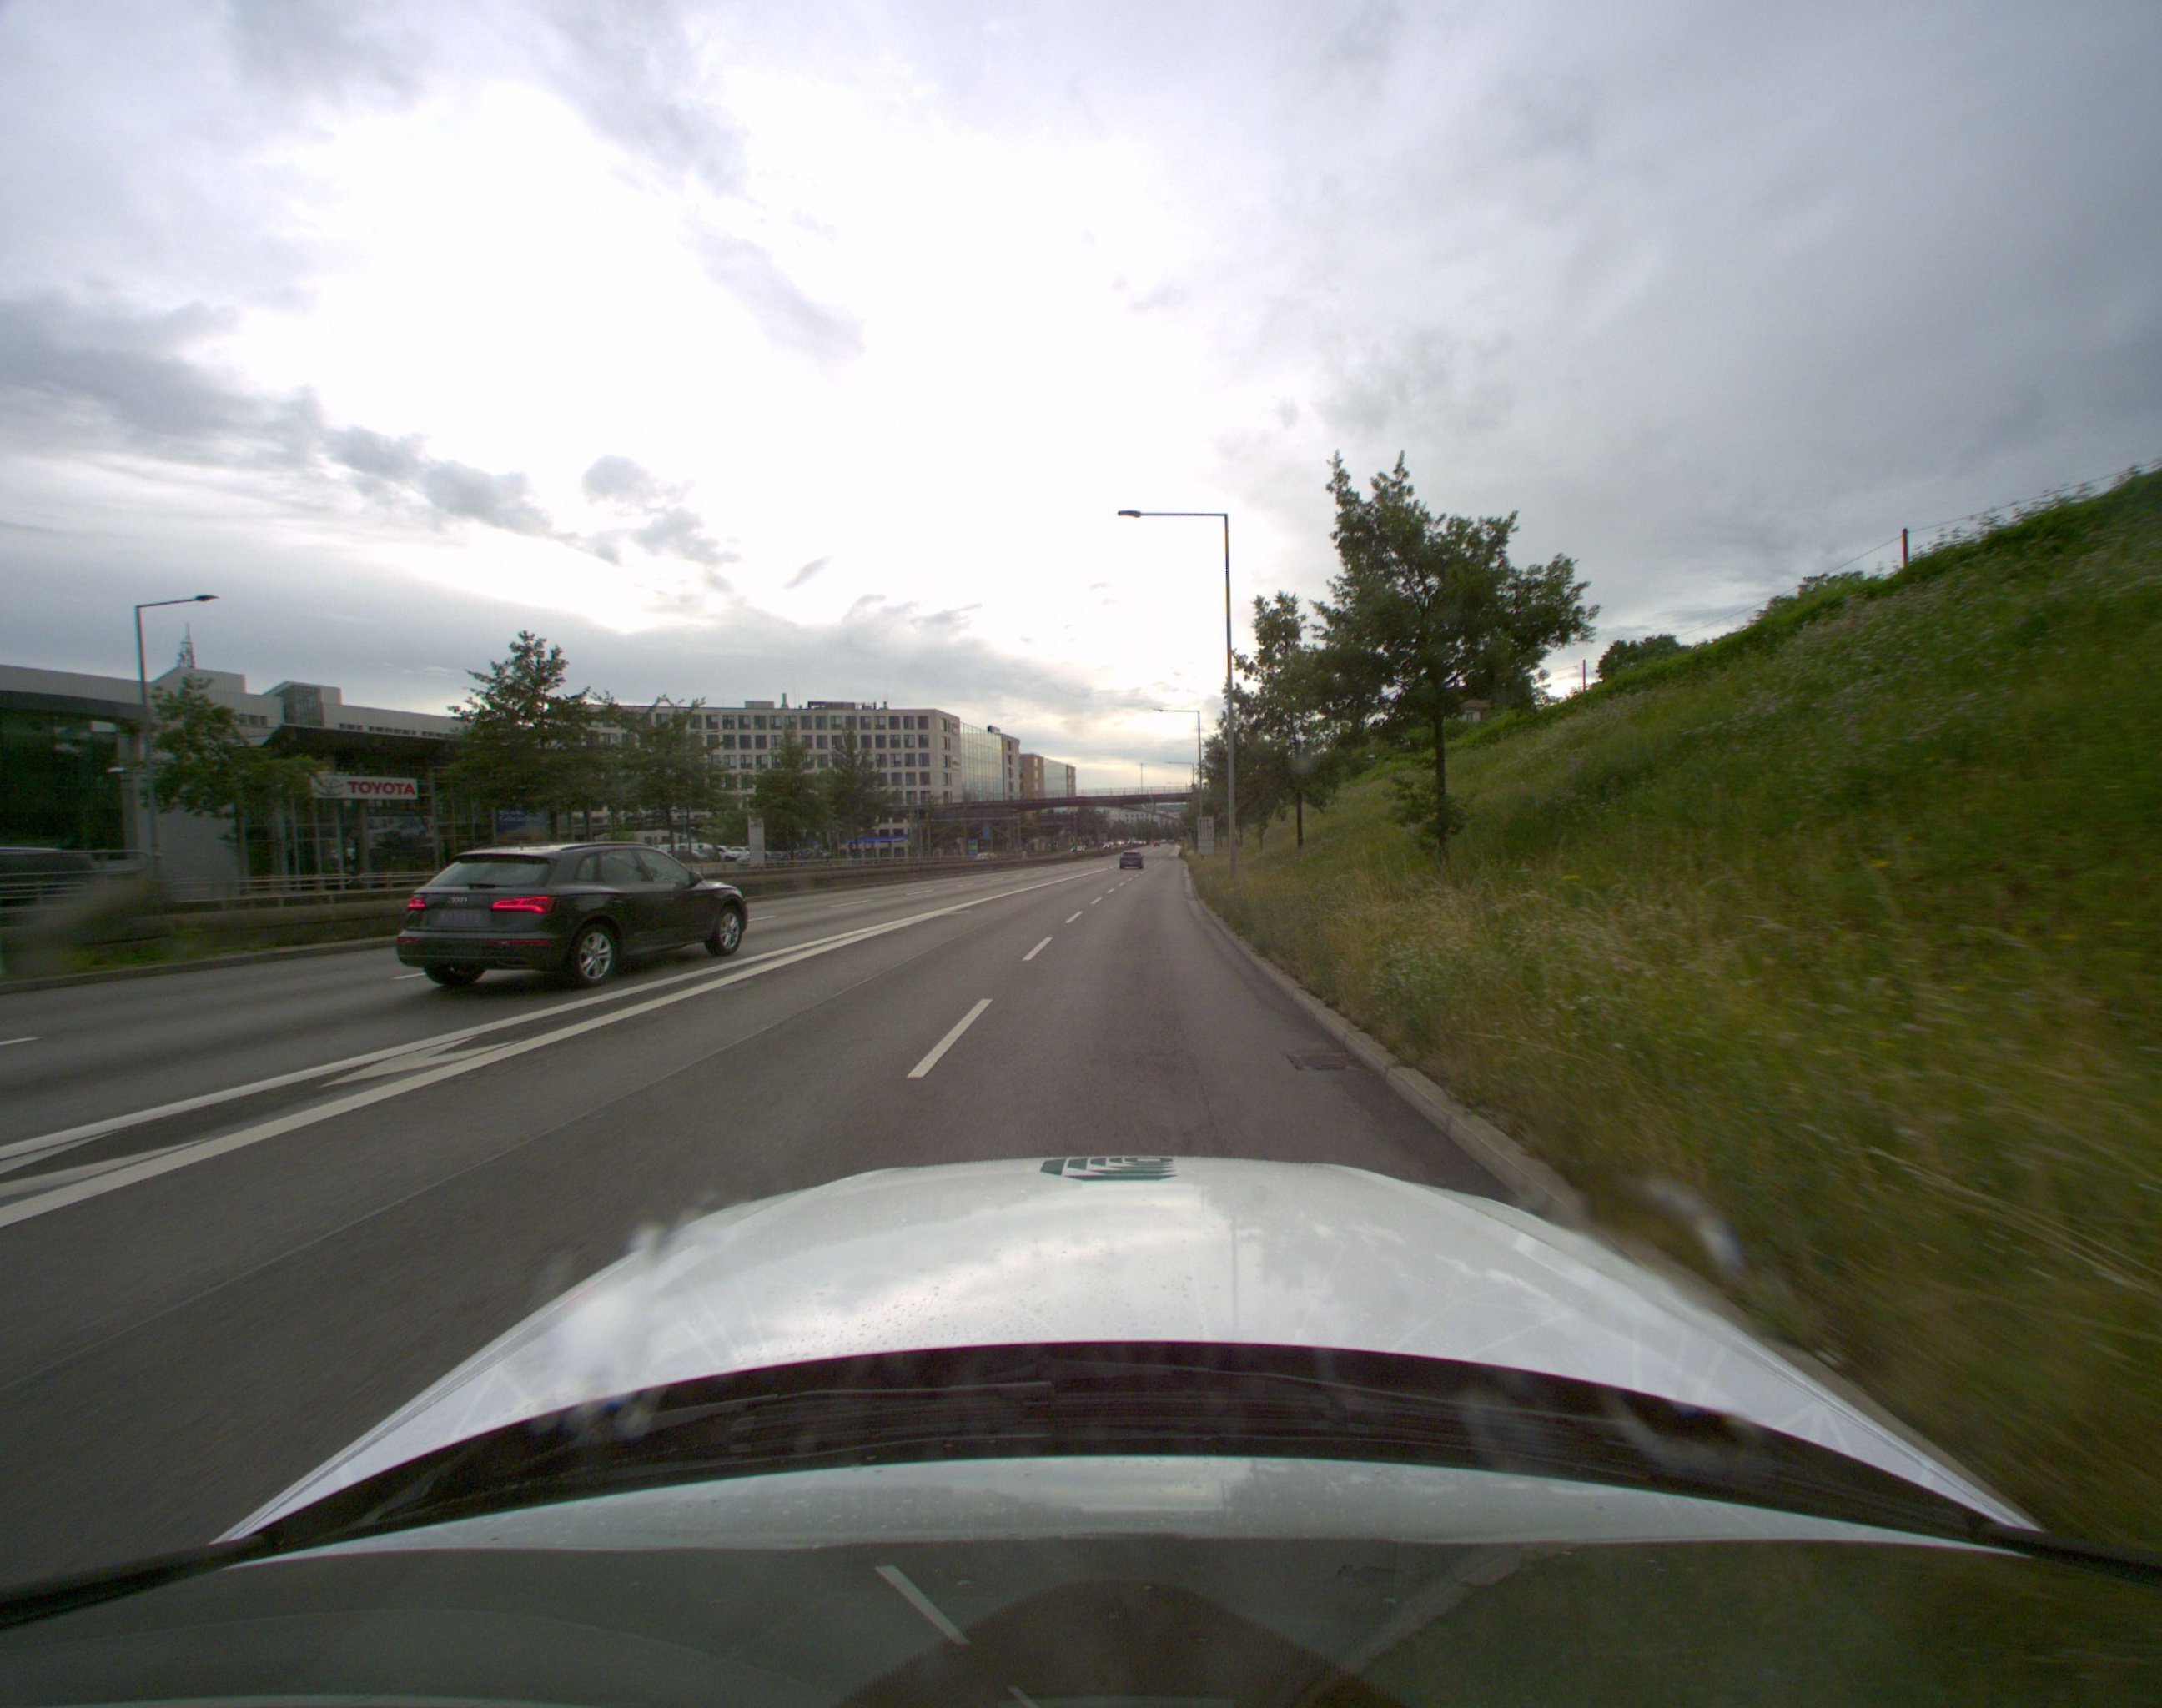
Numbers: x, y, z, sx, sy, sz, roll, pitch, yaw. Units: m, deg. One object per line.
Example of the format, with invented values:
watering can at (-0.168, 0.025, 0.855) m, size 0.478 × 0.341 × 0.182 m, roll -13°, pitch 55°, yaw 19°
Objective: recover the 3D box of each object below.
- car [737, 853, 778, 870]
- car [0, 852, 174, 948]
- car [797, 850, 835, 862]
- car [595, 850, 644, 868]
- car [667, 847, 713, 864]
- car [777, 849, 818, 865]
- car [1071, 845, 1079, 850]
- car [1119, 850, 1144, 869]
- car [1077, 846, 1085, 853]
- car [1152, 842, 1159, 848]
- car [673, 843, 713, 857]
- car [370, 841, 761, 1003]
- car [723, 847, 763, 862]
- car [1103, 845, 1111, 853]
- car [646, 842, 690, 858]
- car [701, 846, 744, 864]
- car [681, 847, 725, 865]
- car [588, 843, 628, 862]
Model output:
car at (-33.715, 0.745, 84.904) m, size 4.004 × 1.651 × 1.985 m, roll 0°, pitch 1°, yaw -23°
car at (-22.268, 0.930, 16.975) m, size 1.983 × 1.749 × 4.008 m, roll 1°, pitch 3°, yaw 6°
car at (-31.647, 0.238, 97.326) m, size 3.964 × 1.354 × 1.854 m, roll 1°, pitch 1°, yaw 9°
car at (-47.578, 0.506, 84.014) m, size 3.961 × 1.650 × 2.007 m, roll 1°, pitch 3°, yaw 12°
car at (-42.453, 0.164, 88.500) m, size 3.968 × 1.650 × 2.003 m, roll 1°, pitch 3°, yaw 5°
car at (-32.194, 0.347, 92.514) m, size 3.964 × 1.651 × 2.005 m, roll 1°, pitch 1°, yaw 9°
car at (-1.410, -1.626, 204.131) m, size 1.509 × 1.420 × 3.485 m, roll -1°, pitch 1°, yaw 7°
car at (4.115, 0.410, 65.688) m, size 1.739 × 1.420 × 3.485 m, roll -2°, pitch 0°, yaw 7°
car at (0.037, -1.058, 192.244) m, size 1.509 × 1.420 × 3.485 m, roll -1°, pitch 1°, yaw 7°
car at (22.869, -2.741, 249.775) m, size 1.855 × 1.749 × 4.005 m, roll 0°, pitch 3°, yaw 3°
car at (-47.263, -0.472, 99.227) m, size 3.970 × 1.650 × 1.823 m, roll 0°, pitch 3°, yaw 3°
car at (-6.124, 0.683, 10.554) m, size 1.743 × 1.617 × 4.754 m, roll -1°, pitch 0°, yaw 4°
car at (-41.039, 0.013, 98.876) m, size 3.961 × 1.650 × 2.007 m, roll 1°, pitch 3°, yaw 12°
car at (7.683, -1.507, 237.022) m, size 1.984 × 2.013 × 4.008 m, roll 1°, pitch 3°, yaw 6°
car at (-47.150, -0.457, 93.001) m, size 3.968 × 1.650 × 2.003 m, roll 1°, pitch 3°, yaw 5°
car at (-41.132, 0.102, 93.456) m, size 3.961 × 1.875 × 2.007 m, roll 1°, pitch 3°, yaw 12°
car at (-42.296, 0.215, 91.186) m, size 3.960 × 2.013 × 2.007 m, roll -1°, pitch 0°, yaw 11°
car at (-56.499, -0.194, 97.312) m, size 4.013 × 2.048 × 1.981 m, roll -1°, pitch 3°, yaw -31°
